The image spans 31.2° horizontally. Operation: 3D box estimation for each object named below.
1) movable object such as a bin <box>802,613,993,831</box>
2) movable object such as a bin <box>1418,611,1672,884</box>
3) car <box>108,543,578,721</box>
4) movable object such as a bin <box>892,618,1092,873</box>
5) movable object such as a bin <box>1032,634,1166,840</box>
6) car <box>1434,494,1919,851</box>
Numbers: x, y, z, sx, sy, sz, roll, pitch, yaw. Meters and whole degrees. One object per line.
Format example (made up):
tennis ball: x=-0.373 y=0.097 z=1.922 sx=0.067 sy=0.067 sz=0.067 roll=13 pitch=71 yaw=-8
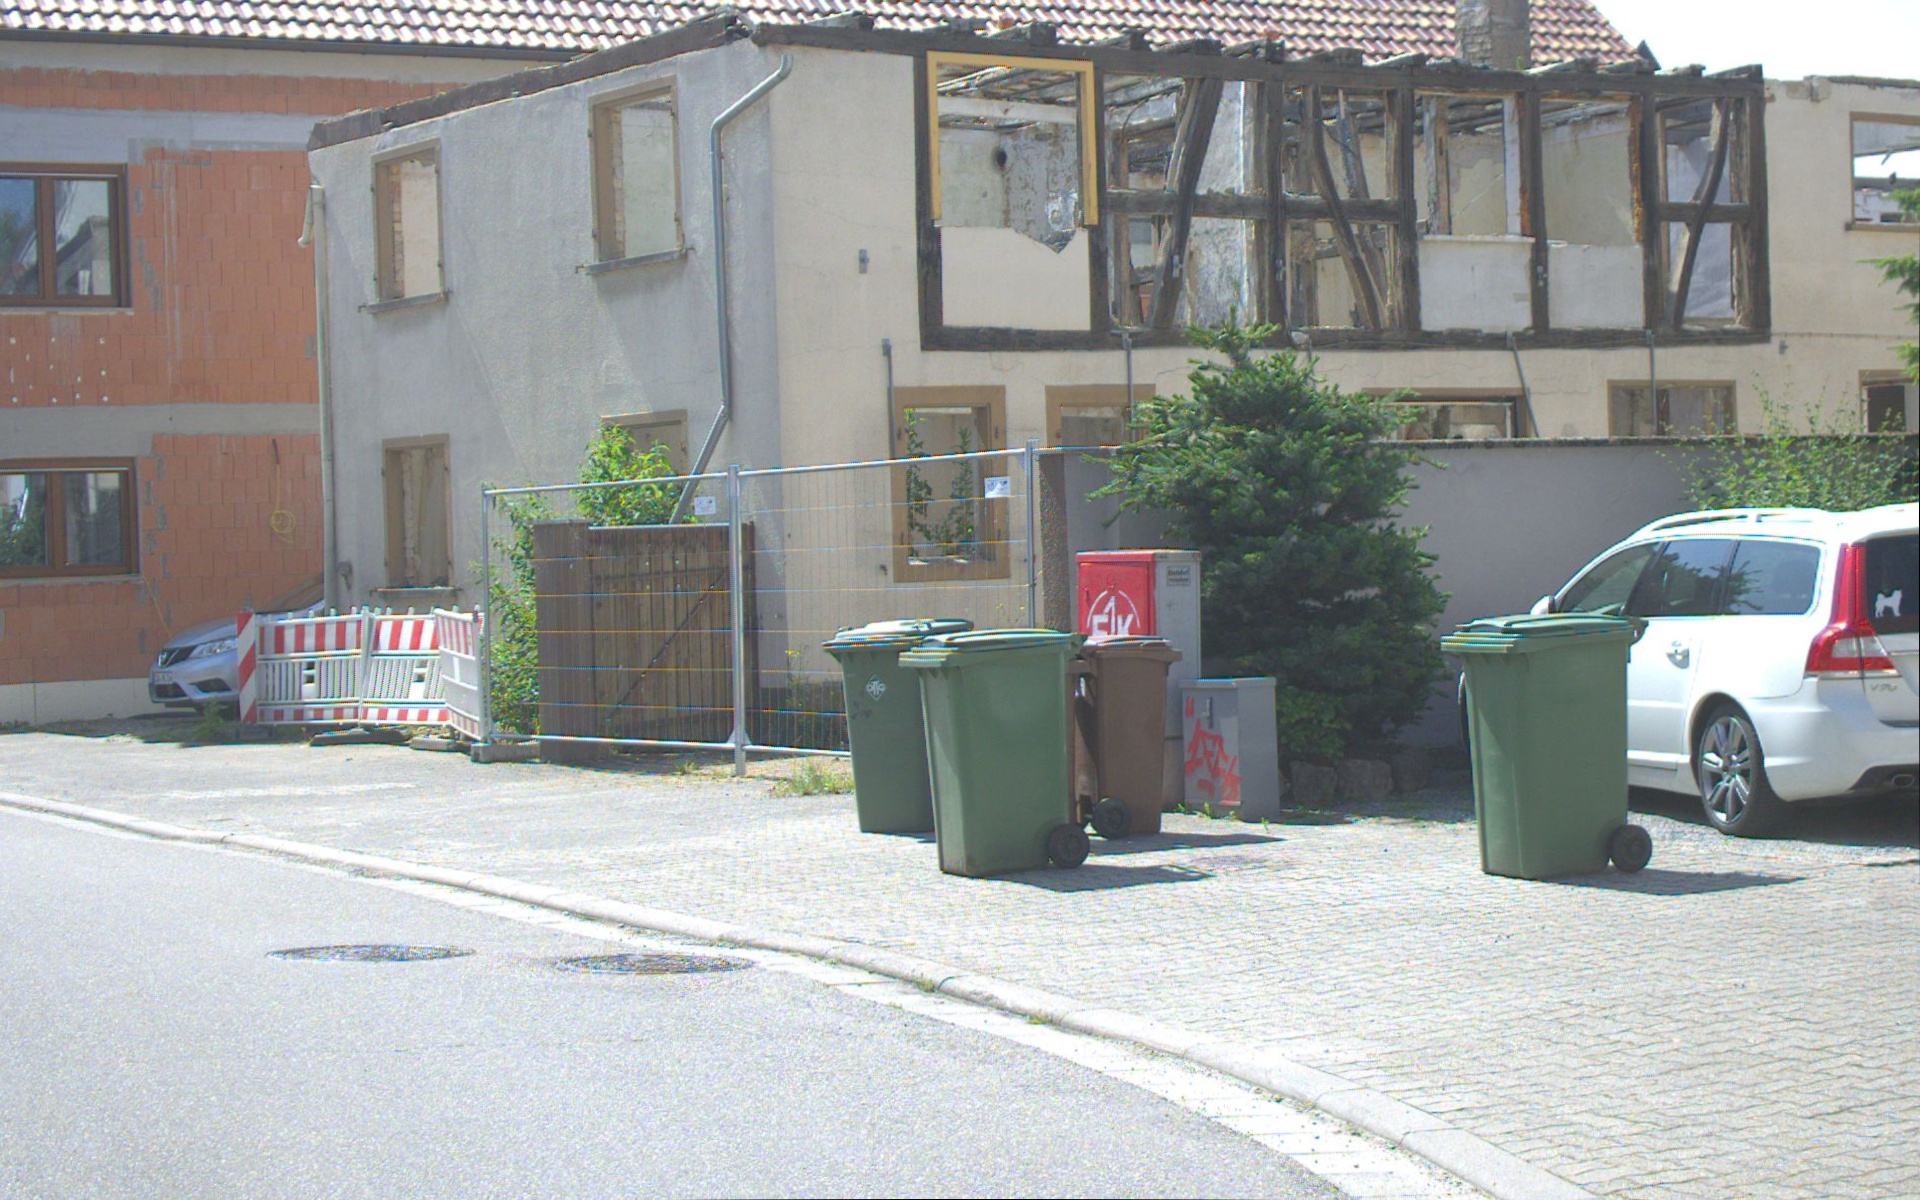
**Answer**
movable object such as a bin: x=-0.318 y=0.619 z=17.716 sx=0.671 sy=1.068 sz=0.760 roll=-1 pitch=1 yaw=28
movable object such as a bin: x=2.441 y=0.598 z=14.381 sx=0.720 sy=1.077 sz=0.755 roll=-2 pitch=1 yaw=-24
car: x=-6.045 y=0.289 z=33.828 sx=4.089 sy=1.502 sz=1.870 roll=-3 pitch=1 yaw=-34
movable object such as a bin: x=0.140 y=0.639 z=15.492 sx=0.686 sy=1.088 sz=0.638 roll=-2 pitch=1 yaw=-21
movable object such as a bin: x=0.676 y=0.660 z=16.811 sx=0.465 sy=0.967 sz=0.496 roll=-2 pitch=1 yaw=-22
car: x=4.034 y=0.259 z=17.068 sx=1.810 sy=1.523 sz=4.298 roll=-2 pitch=1 yaw=-14
